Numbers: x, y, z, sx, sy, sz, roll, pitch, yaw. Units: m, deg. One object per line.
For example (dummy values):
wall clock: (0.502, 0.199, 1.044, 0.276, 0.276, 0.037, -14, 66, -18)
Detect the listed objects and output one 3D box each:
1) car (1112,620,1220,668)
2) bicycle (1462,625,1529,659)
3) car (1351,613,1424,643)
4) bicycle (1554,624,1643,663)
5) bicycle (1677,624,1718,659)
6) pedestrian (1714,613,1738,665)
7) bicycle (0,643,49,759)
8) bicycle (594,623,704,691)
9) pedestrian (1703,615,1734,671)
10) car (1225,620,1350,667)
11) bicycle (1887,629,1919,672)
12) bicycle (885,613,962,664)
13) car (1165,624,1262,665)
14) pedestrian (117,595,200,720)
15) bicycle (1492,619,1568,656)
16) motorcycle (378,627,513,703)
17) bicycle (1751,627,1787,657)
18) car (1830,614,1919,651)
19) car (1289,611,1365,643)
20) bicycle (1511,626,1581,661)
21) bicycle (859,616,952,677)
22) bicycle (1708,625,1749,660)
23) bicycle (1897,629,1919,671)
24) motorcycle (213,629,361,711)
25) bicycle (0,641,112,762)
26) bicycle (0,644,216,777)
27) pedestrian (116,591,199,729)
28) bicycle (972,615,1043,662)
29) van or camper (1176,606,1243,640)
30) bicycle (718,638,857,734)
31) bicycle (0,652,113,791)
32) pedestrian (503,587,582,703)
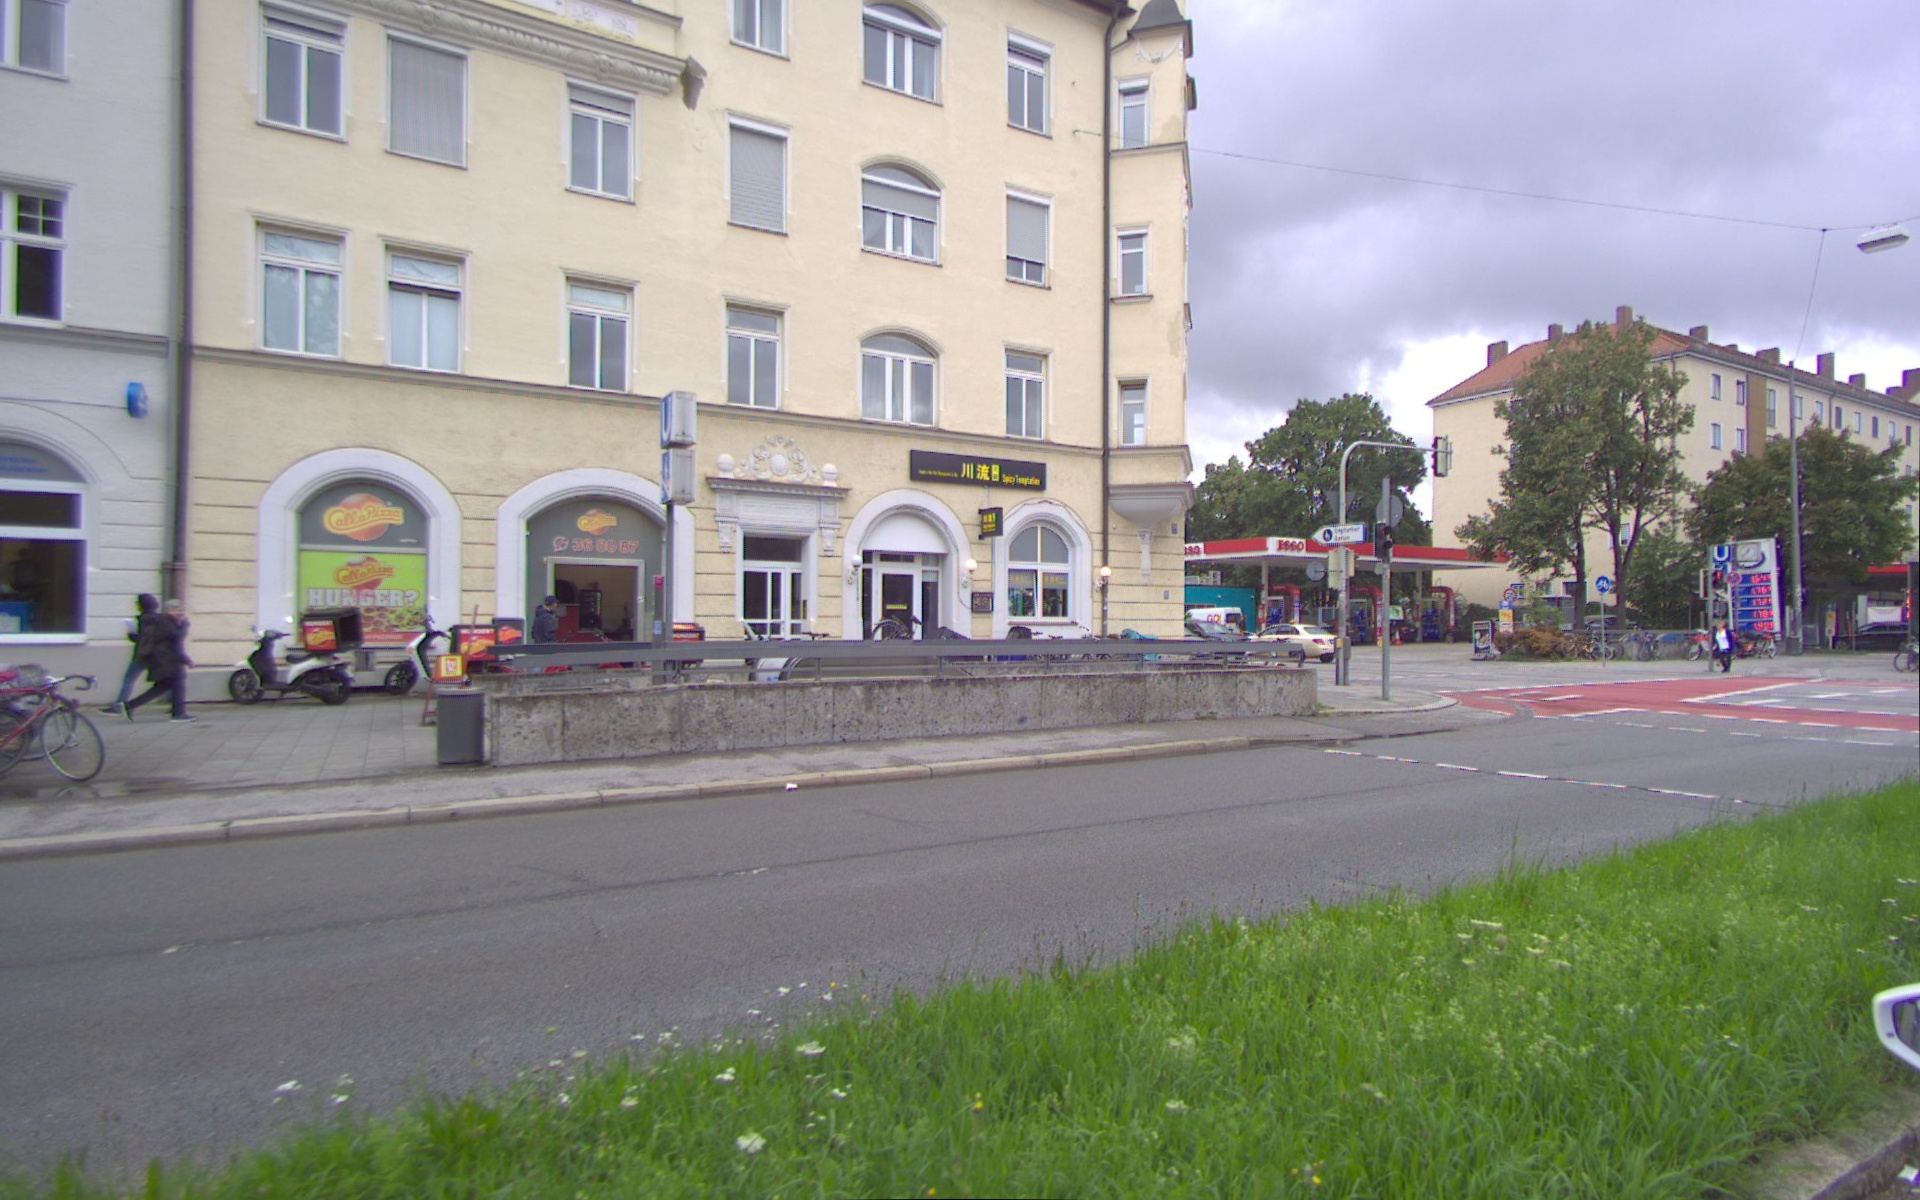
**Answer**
car: (7.050, 1.469, 34.653, 1.645, 1.537, 3.600, 1, -1, -32)
bicycle: (20.651, 1.621, 38.781, 0.759, 1.252, 2.163, 1, -1, -38)
car: (26.838, 1.717, 63.197, 1.835, 1.808, 3.969, 1, -1, -29)
bicycle: (23.180, 1.554, 36.541, 2.664, 1.267, 0.792, 2, 1, 31)
bicycle: (27.156, 1.528, 36.977, 2.166, 1.252, 0.604, 1, -1, -36)
pedestrian: (25.872, 1.317, 33.938, 0.581, 1.718, 0.576, 0, -1, 30)
bicycle: (-9.911, 0.994, 9.547, 0.390, 1.130, 1.807, 0, -1, 37)
bicycle: (-4.716, 0.846, 15.260, 1.526, 0.993, 0.470, 1, -1, -30)
pedestrian: (23.383, 1.326, 30.973, 0.568, 1.718, 0.534, 0, -1, -18)
car: (12.729, 1.662, 39.373, 1.763, 1.668, 4.744, 1, -1, -29)
bicycle: (29.861, 1.558, 30.622, 0.695, 1.322, 2.262, 1, -1, -28)
bicycle: (-0.729, 0.769, 20.295, 1.526, 0.993, 0.470, 1, -1, -30)
car: (9.428, 1.625, 37.593, 1.642, 1.430, 3.535, 1, -1, -27)
pedestrian: (-10.888, 0.765, 13.664, 0.772, 1.653, 0.420, 1, -1, -24)
bicycle: (21.717, 1.415, 38.325, 0.785, 1.267, 2.374, 1, 1, -39)
motorcycle: (-8.214, 1.016, 16.055, 1.947, 1.137, 0.610, 1, 0, 11)
bicycle: (31.555, 1.629, 39.171, 1.947, 1.160, 0.604, 1, -1, -36)
car: (48.398, 1.666, 52.601, 1.859, 1.862, 3.966, 1, -1, -32)
car: (21.549, 1.565, 59.147, 1.835, 1.808, 3.969, 1, -1, -29)
bicycle: (21.648, 1.588, 37.127, 2.154, 1.252, 0.762, 0, -1, 40)
bicycle: (-0.918, 0.779, 16.965, 1.526, 0.993, 0.470, 1, -1, -30)
bicycle: (28.177, 1.535, 36.811, 2.166, 1.252, 0.604, 1, -1, -36)
bicycle: (30.539, 1.558, 30.988, 0.685, 1.322, 2.276, 1, -1, -28)
motorcycle: (-10.100, 1.029, 15.088, 1.947, 1.145, 0.610, 1, 0, 11)
bicycle: (-9.316, 0.978, 9.605, 0.390, 1.130, 1.807, 0, -1, 37)
bicycle: (-8.232, 1.011, 9.563, 0.390, 1.130, 1.807, 0, -1, 37)
pedestrian: (-10.394, 0.761, 13.036, 0.762, 1.719, 0.540, 1, -1, -32)
bicycle: (1.041, 0.816, 21.739, 1.526, 0.993, 0.470, 1, -1, -30)
van or camper: (17.620, 1.598, 71.163, 1.899, 2.354, 4.509, 1, -1, -33)
bicycle: (-2.192, 1.071, 12.913, 1.798, 1.130, 0.392, 1, -1, -39)
bicycle: (-8.211, 1.030, 8.417, 0.325, 1.130, 1.675, 0, -1, 37)
pedestrian: (-6.386, 0.673, 15.384, 0.583, 1.719, 0.943, 0, -1, 33)
